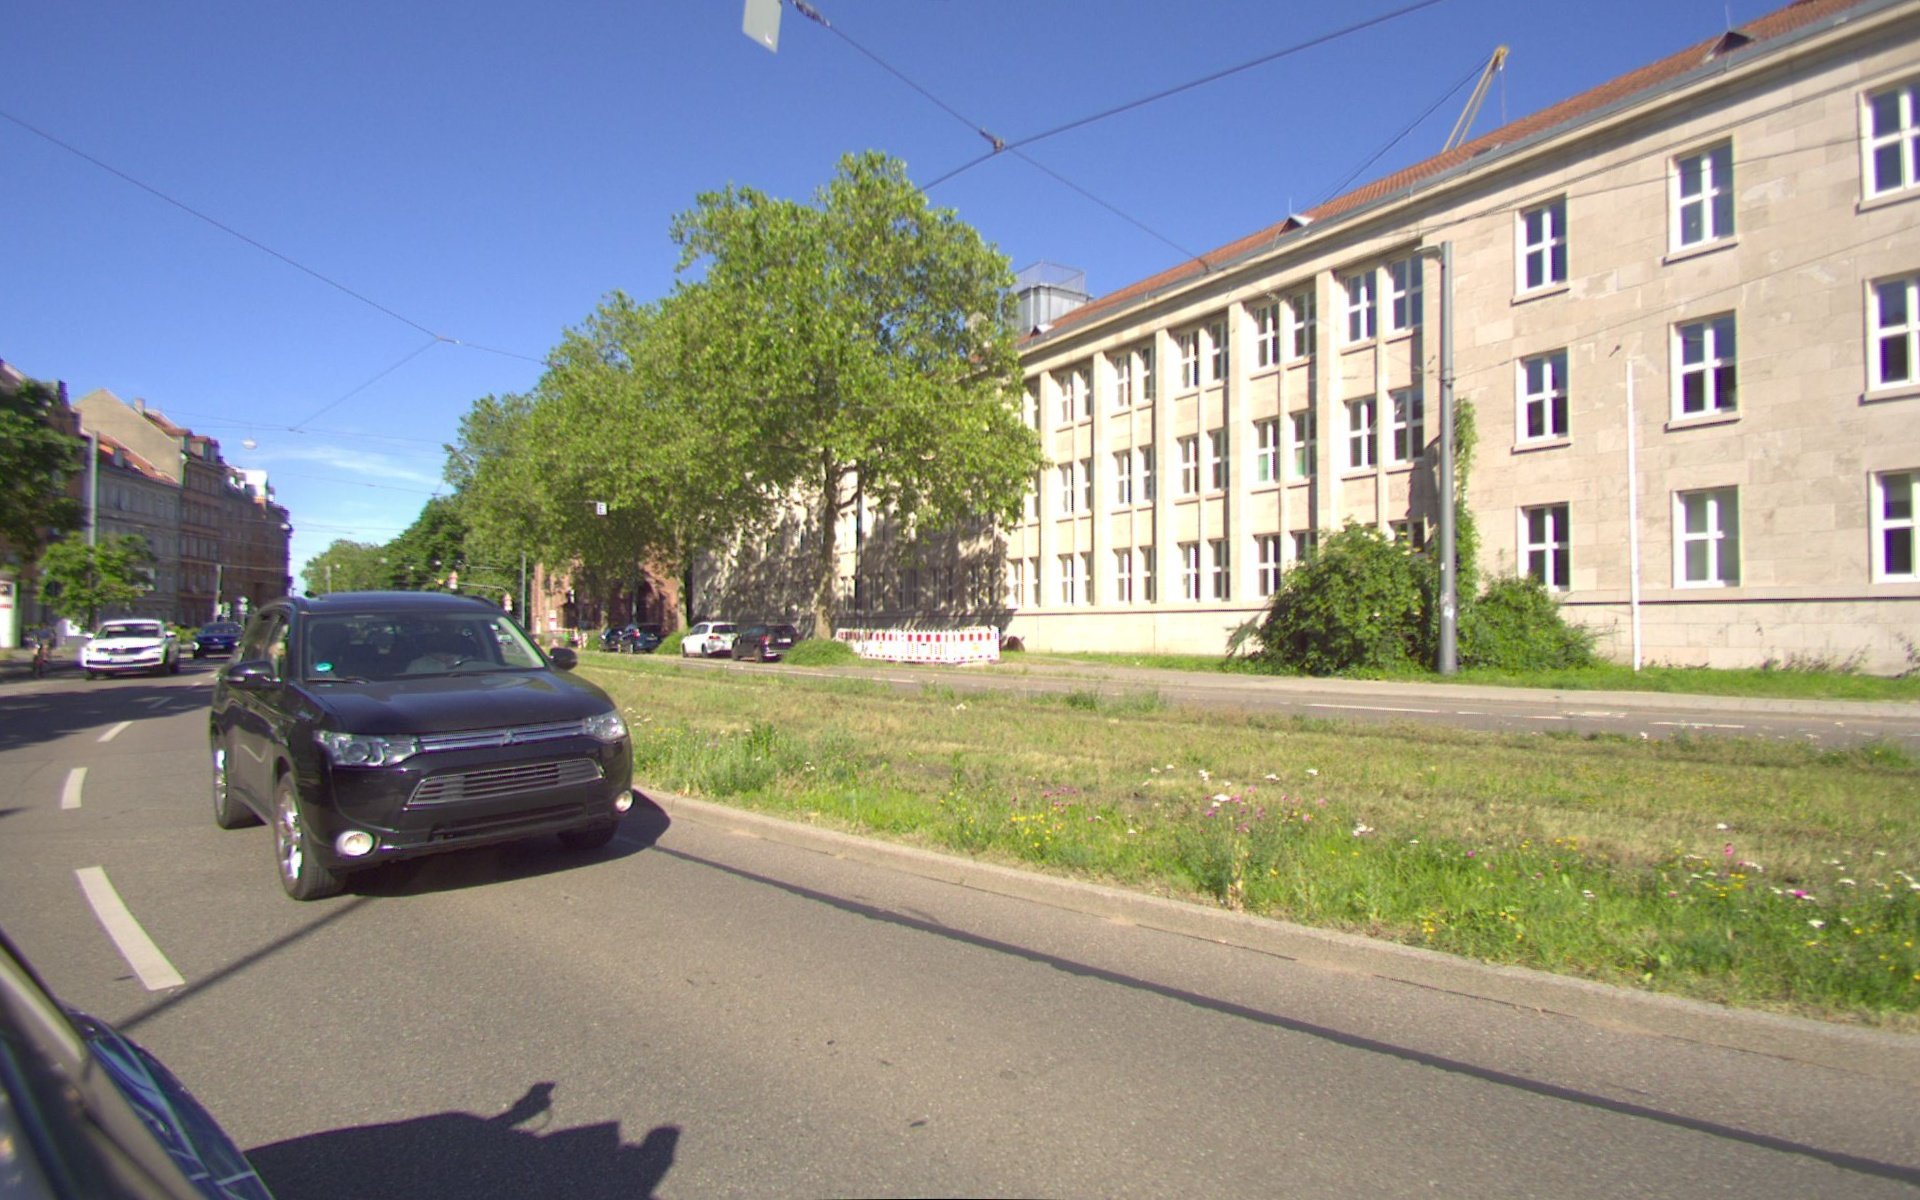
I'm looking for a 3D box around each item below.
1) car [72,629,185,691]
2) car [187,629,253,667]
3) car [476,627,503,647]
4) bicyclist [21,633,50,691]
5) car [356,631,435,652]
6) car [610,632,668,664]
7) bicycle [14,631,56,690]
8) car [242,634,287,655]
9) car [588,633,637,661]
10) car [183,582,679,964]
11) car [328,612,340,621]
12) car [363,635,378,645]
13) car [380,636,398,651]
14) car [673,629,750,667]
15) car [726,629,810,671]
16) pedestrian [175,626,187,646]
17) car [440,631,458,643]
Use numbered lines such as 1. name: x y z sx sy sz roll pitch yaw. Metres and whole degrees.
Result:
1. car: -23.803 1.652 29.122 1.772 1.648 4.407 1 -2 -30
2. car: -32.763 2.095 44.930 1.966 1.630 4.276 1 -2 -31
3. car: -49.580 3.875 106.570 1.890 2.113 4.604 1 -2 -34
4. bicyclist: -26.658 1.768 29.187 0.431 1.651 0.781 1 -3 -32
5. car: -42.173 3.084 75.610 4.893 1.464 1.835 1 -2 2
6. car: -17.318 2.546 54.441 1.805 1.651 4.407 1 -2 -34
7. bicycle: -26.627 1.730 29.149 0.431 1.651 1.944 4 -4 -32
8. car: -48.415 3.062 70.428 1.863 1.438 4.379 2 -2 -44
9. car: -20.529 2.739 59.667 1.649 1.559 4.200 2 -2 -34
10. car: -3.836 0.814 6.834 1.814 1.695 4.647 0 -1 -43
11. car: -111.464 2.902 180.226 1.768 1.440 4.388 1 -2 -32
12. car: -89.498 6.052 153.612 1.768 1.440 4.388 1 -2 -32
13. car: -78.884 6.021 139.773 2.032 1.906 4.531 3 -4 -29
14. car: -11.063 2.112 44.802 1.805 1.600 4.406 2 -3 -35
15. car: -7.471 1.906 39.147 1.804 1.504 4.193 1 -2 -31
16. pedestrian: -74.365 3.458 96.621 0.809 1.876 0.705 2 -3 -42
17. car: -67.514 4.896 133.750 1.766 1.563 4.319 1 -2 -32
